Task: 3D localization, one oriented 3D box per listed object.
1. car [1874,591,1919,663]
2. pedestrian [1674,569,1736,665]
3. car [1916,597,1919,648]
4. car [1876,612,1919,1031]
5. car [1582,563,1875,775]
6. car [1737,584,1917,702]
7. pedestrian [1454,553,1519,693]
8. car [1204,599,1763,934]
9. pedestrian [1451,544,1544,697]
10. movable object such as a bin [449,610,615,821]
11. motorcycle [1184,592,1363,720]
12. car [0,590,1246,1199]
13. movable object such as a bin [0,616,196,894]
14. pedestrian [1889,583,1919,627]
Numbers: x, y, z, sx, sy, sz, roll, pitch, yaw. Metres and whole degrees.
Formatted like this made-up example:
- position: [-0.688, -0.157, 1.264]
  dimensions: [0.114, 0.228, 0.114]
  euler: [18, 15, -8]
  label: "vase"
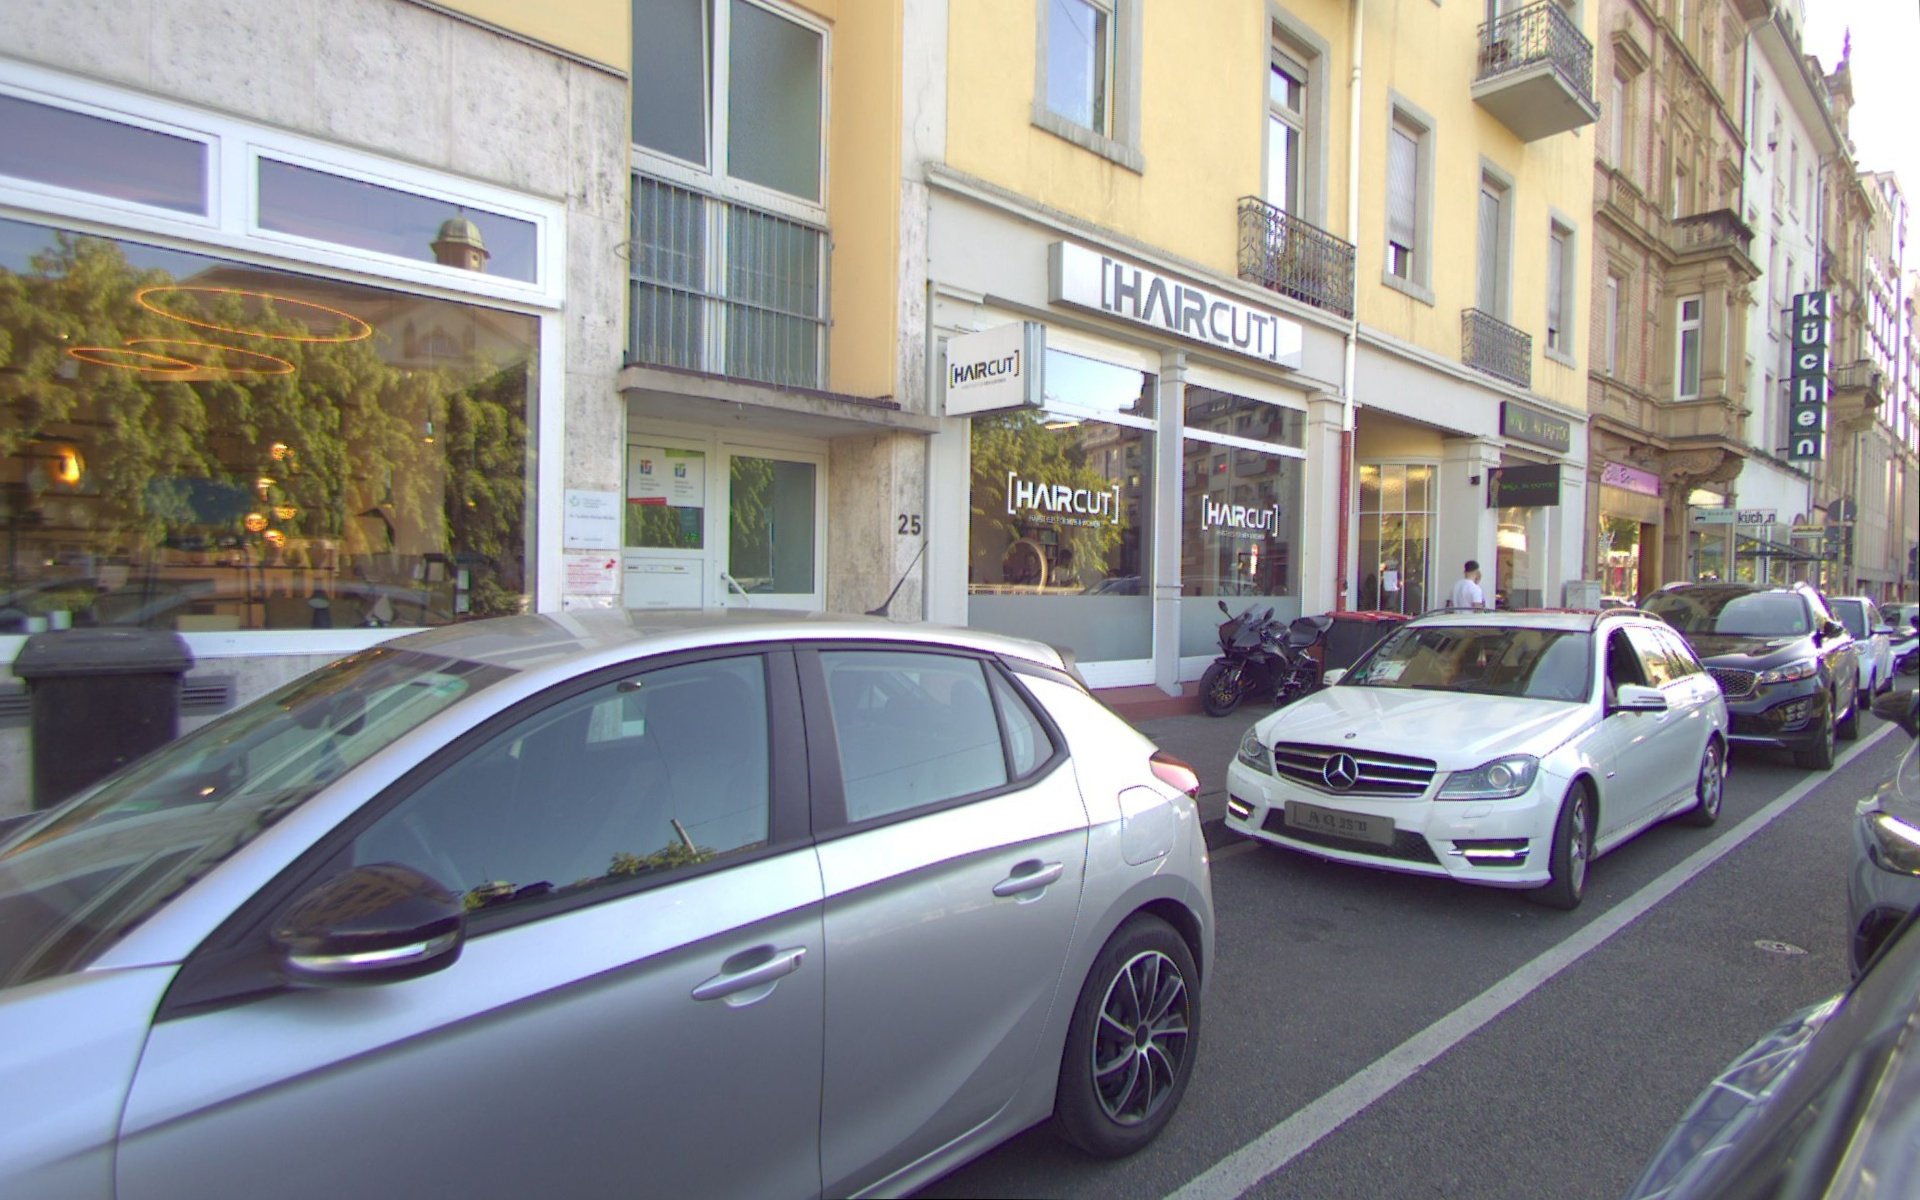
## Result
- position: [21.880, 0.567, 22.805]
  dimensions: [3.736, 1.509, 1.691]
  euler: [-1, 0, -45]
  label: "car"
- position: [14.020, 0.307, 19.036]
  dimensions: [0.835, 1.741, 0.806]
  euler: [0, 0, 45]
  label: "pedestrian"
- position: [26.592, 0.575, 26.923]
  dimensions: [3.306, 1.334, 1.459]
  euler: [-1, 0, -42]
  label: "car"
- position: [5.381, 0.750, 4.371]
  dimensions: [4.397, 1.385, 1.767]
  euler: [-1, 1, -43]
  label: "car"
- position: [7.992, 0.530, 10.361]
  dimensions: [4.338, 1.711, 1.802]
  euler: [-1, 0, -45]
  label: "car"
- position: [12.754, 0.547, 14.848]
  dimensions: [2.945, 1.542, 1.582]
  euler: [-1, 0, -41]
  label: "car"
- position: [7.222, 0.300, 13.869]
  dimensions: [0.627, 1.859, 0.760]
  euler: [0, 0, 41]
  label: "pedestrian"
- position: [3.516, 0.708, 6.382]
  dimensions: [4.301, 1.389, 1.671]
  euler: [-1, 0, -41]
  label: "car"
- position: [6.849, 0.253, 12.930]
  dimensions: [0.961, 1.900, 0.532]
  euler: [0, 0, 18]
  label: "pedestrian"
- position: [-2.344, 0.579, 5.532]
  dimensions: [0.639, 1.036, 0.737]
  euler: [0, 0, -41]
  label: "movable object such as a bin"
- position: [3.284, 0.522, 10.499]
  dimensions: [2.073, 1.144, 0.735]
  euler: [-1, 5, -41]
  label: "motorcycle"
- position: [-1.023, 0.714, 2.302]
  dimensions: [3.625, 1.455, 1.585]
  euler: [-1, 0, -43]
  label: "car"
- position: [-3.691, 0.598, 4.318]
  dimensions: [0.639, 1.036, 0.737]
  euler: [0, 0, -41]
  label: "movable object such as a bin"
- position: [39.043, 0.206, 41.850]
  dimensions: [0.809, 1.782, 0.825]
  euler: [0, 0, -42]
  label: "pedestrian"
